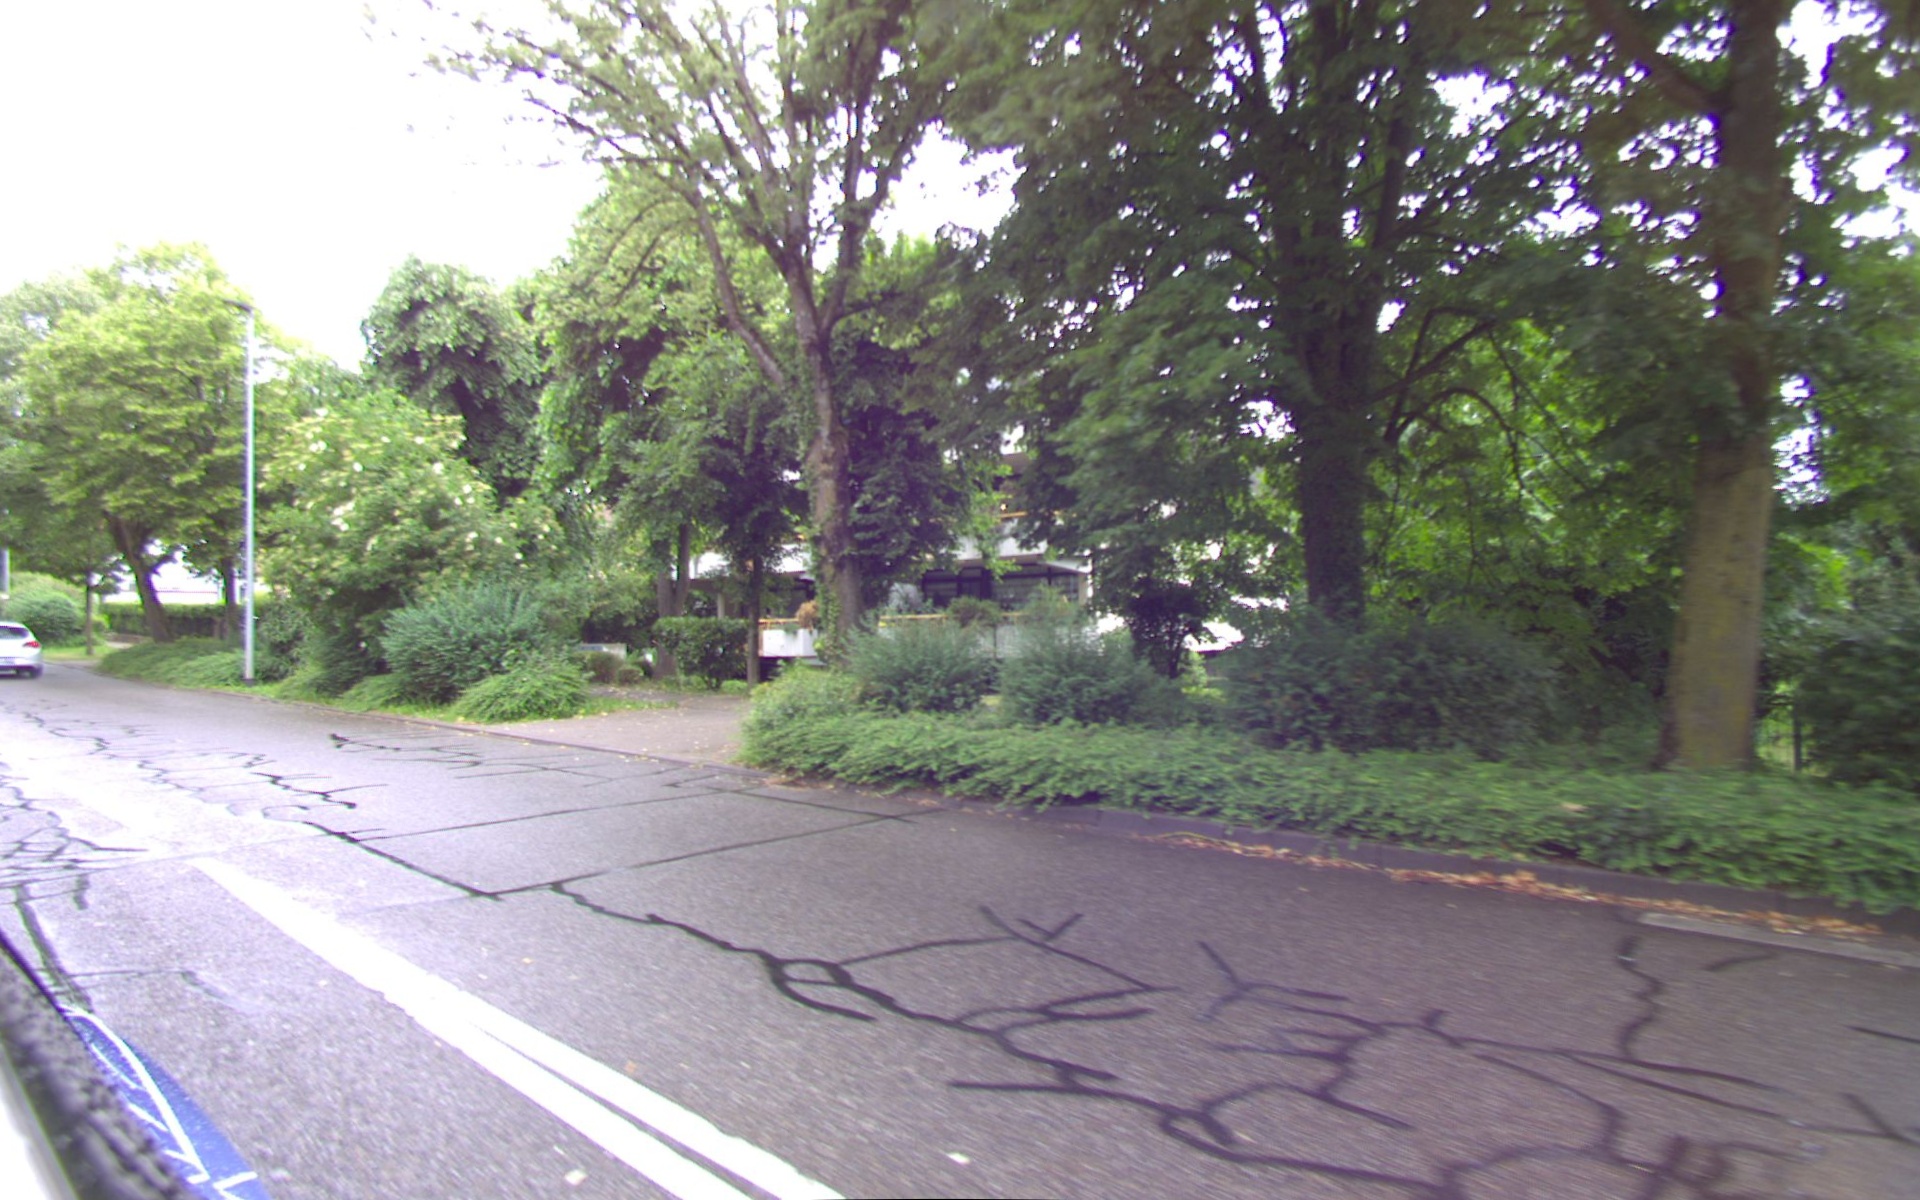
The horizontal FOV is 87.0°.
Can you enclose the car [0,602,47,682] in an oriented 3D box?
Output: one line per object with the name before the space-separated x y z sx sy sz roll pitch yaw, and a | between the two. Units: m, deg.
car | -26.066 1.125 27.023 4.572 2.029 1.972 -2 -3 42
